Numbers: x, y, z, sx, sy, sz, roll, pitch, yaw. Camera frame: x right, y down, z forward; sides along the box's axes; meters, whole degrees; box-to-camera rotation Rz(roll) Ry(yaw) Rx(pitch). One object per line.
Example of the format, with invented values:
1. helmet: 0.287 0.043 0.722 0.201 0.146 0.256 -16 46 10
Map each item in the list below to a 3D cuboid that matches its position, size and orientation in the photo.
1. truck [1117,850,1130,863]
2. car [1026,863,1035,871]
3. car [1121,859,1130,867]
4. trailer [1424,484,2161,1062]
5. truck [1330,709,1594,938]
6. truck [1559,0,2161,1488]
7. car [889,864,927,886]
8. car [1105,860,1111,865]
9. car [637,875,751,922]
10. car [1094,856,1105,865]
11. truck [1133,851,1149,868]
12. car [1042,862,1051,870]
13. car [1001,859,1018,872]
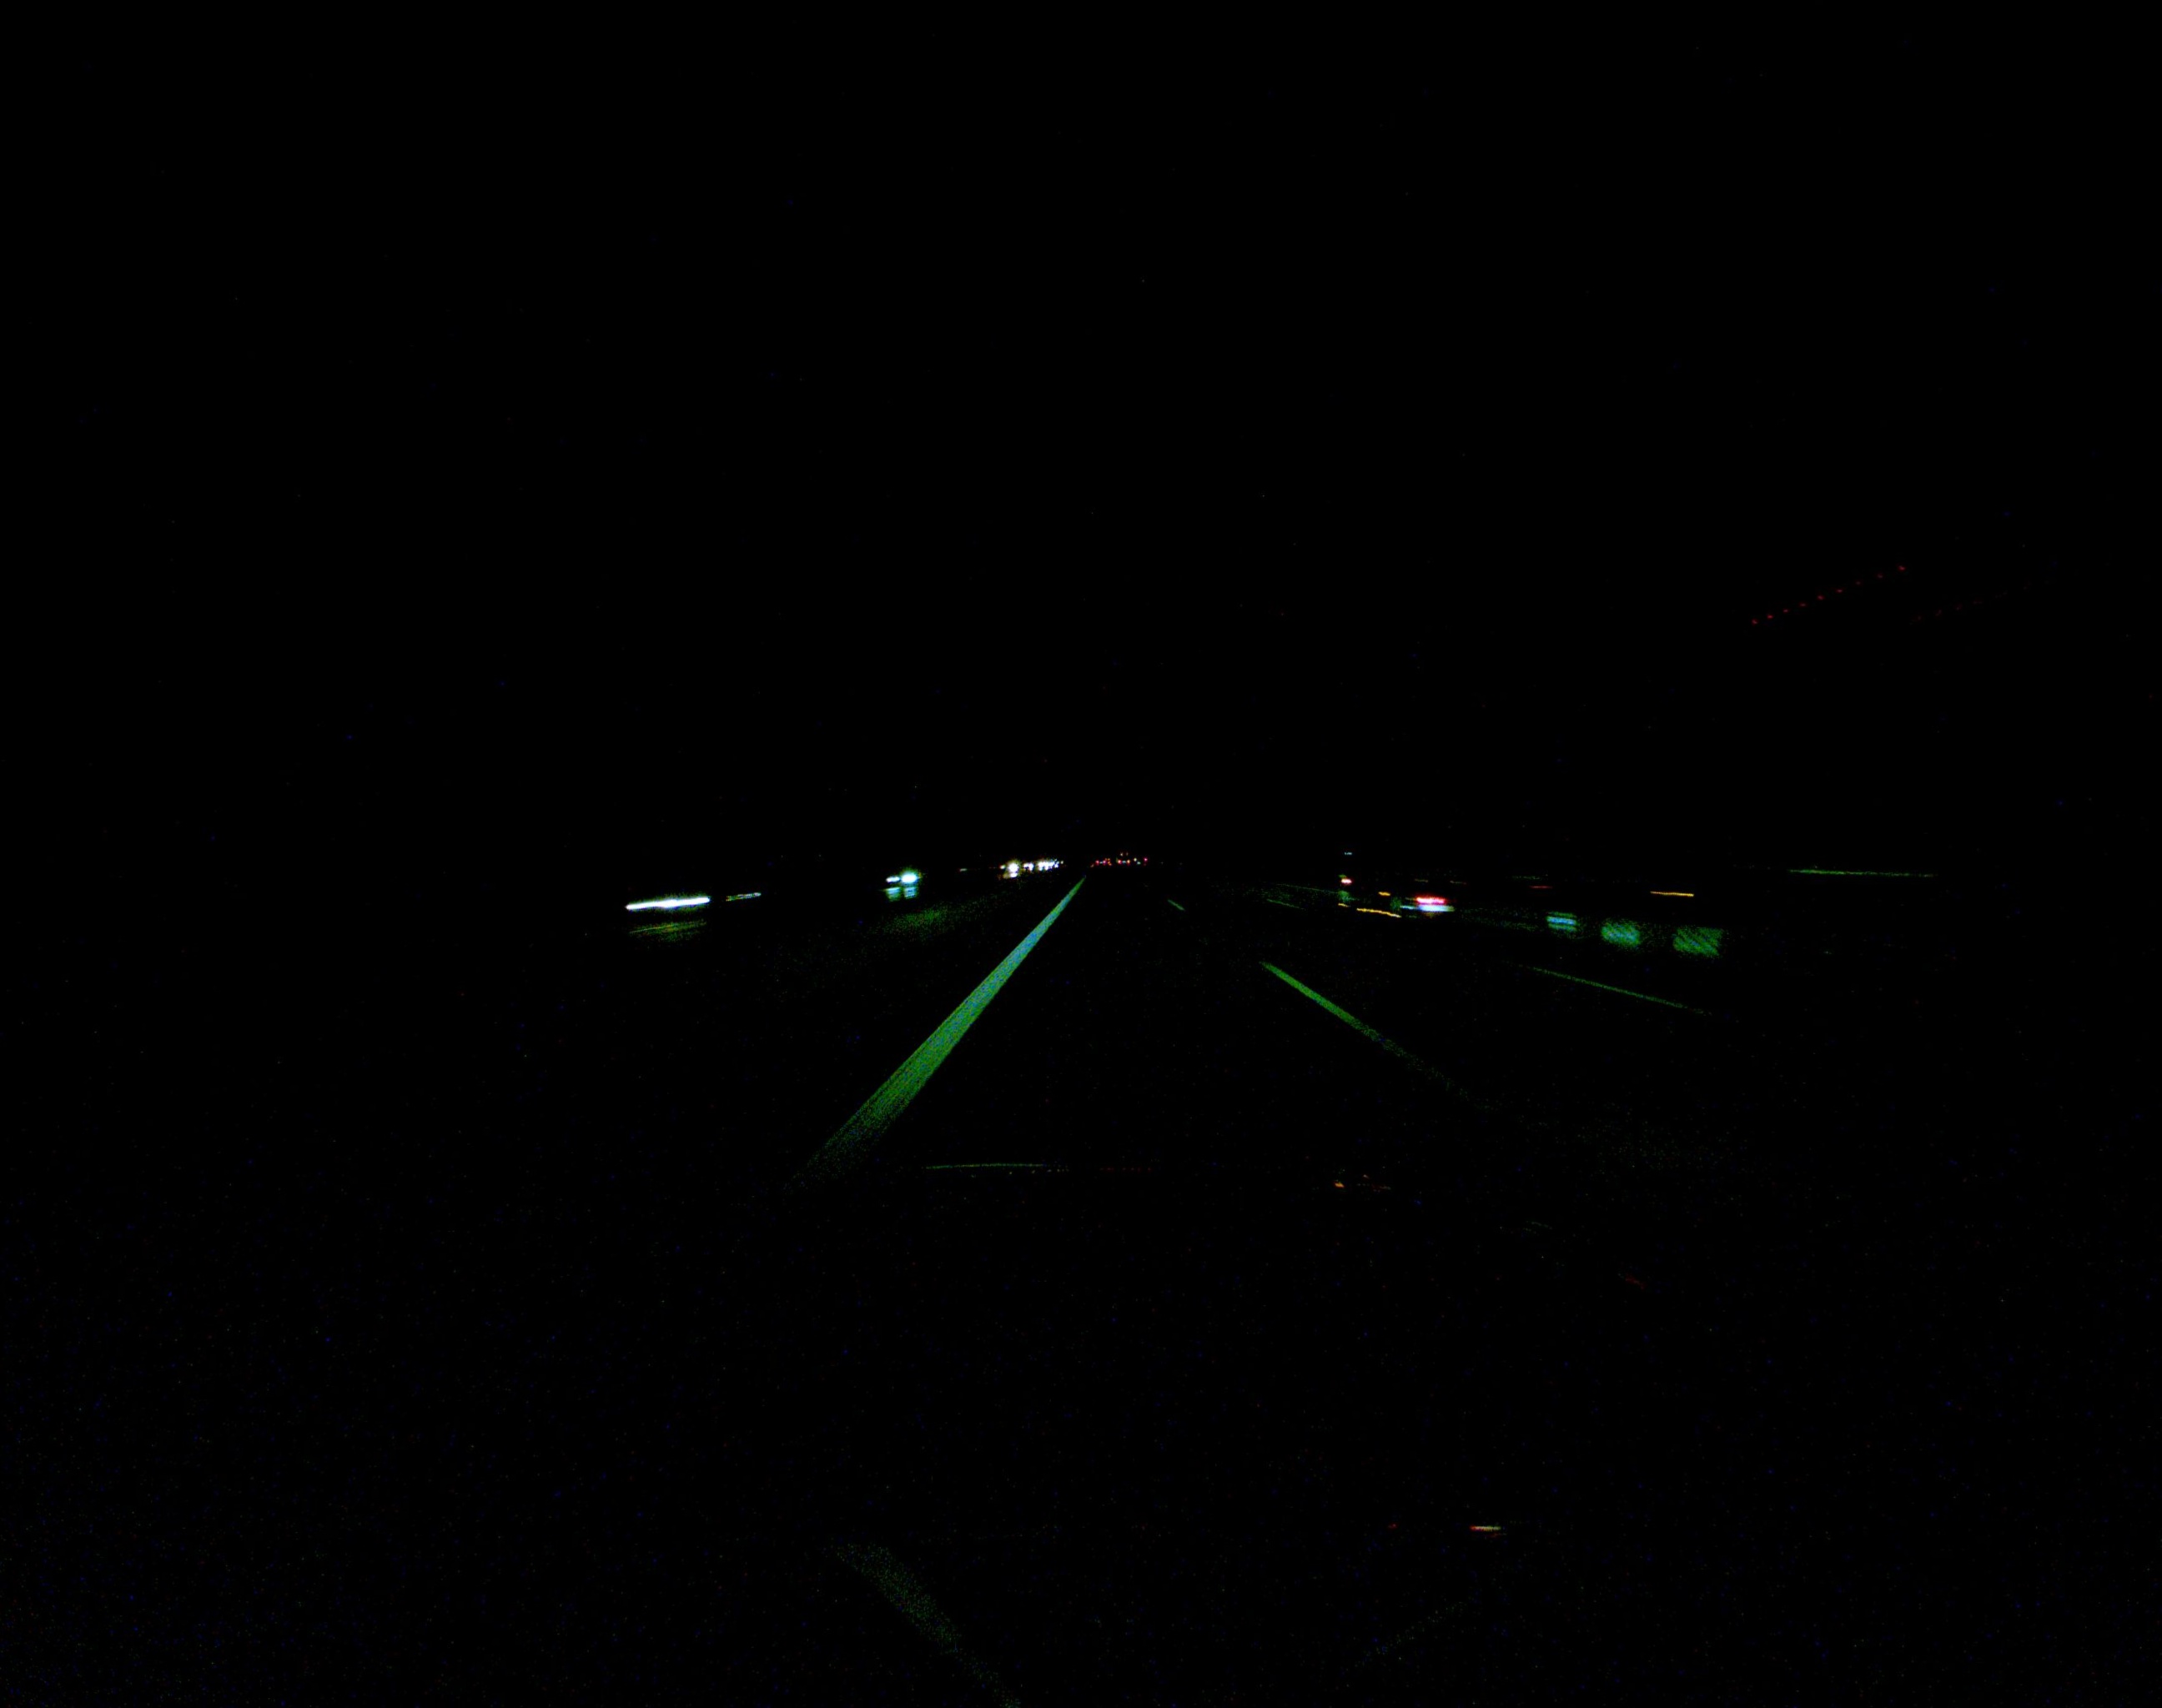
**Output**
1. truck: 11.740 0.698 225.641 3.034 3.325 10.142 0 0 1
2. car: -11.345 2.917 183.789 1.745 1.478 4.581 -3 0 0
3. car: 7.436 1.479 137.398 1.341 1.387 3.502 0 0 1
4. trailer: 7.776 -0.565 10.734 2.581 4.072 10.012 0 0 2
5. truck: 7.976 -0.542 18.381 2.581 4.072 7.676 0 0 2
6. truck: 3.803 -0.637 1.016 2.652 4.206 6.725 0 0 2
7. car: -12.565 1.509 59.526 1.626 1.394 4.877 -3 0 0
8. car: 7.905 2.545 237.279 1.814 1.466 4.248 0 0 1
9. car: -13.593 1.522 28.969 1.656 1.334 4.809 -3 0 1
10. car: 3.281 1.166 145.616 1.814 1.466 4.248 0 0 1
11. truck: 10.591 0.928 144.367 2.070 2.690 7.306 0 1 -1
12. car: -7.556 2.580 177.320 1.745 1.478 4.581 -3 0 0
13. car: -9.272 1.454 105.577 1.745 1.478 4.581 -3 0 0
